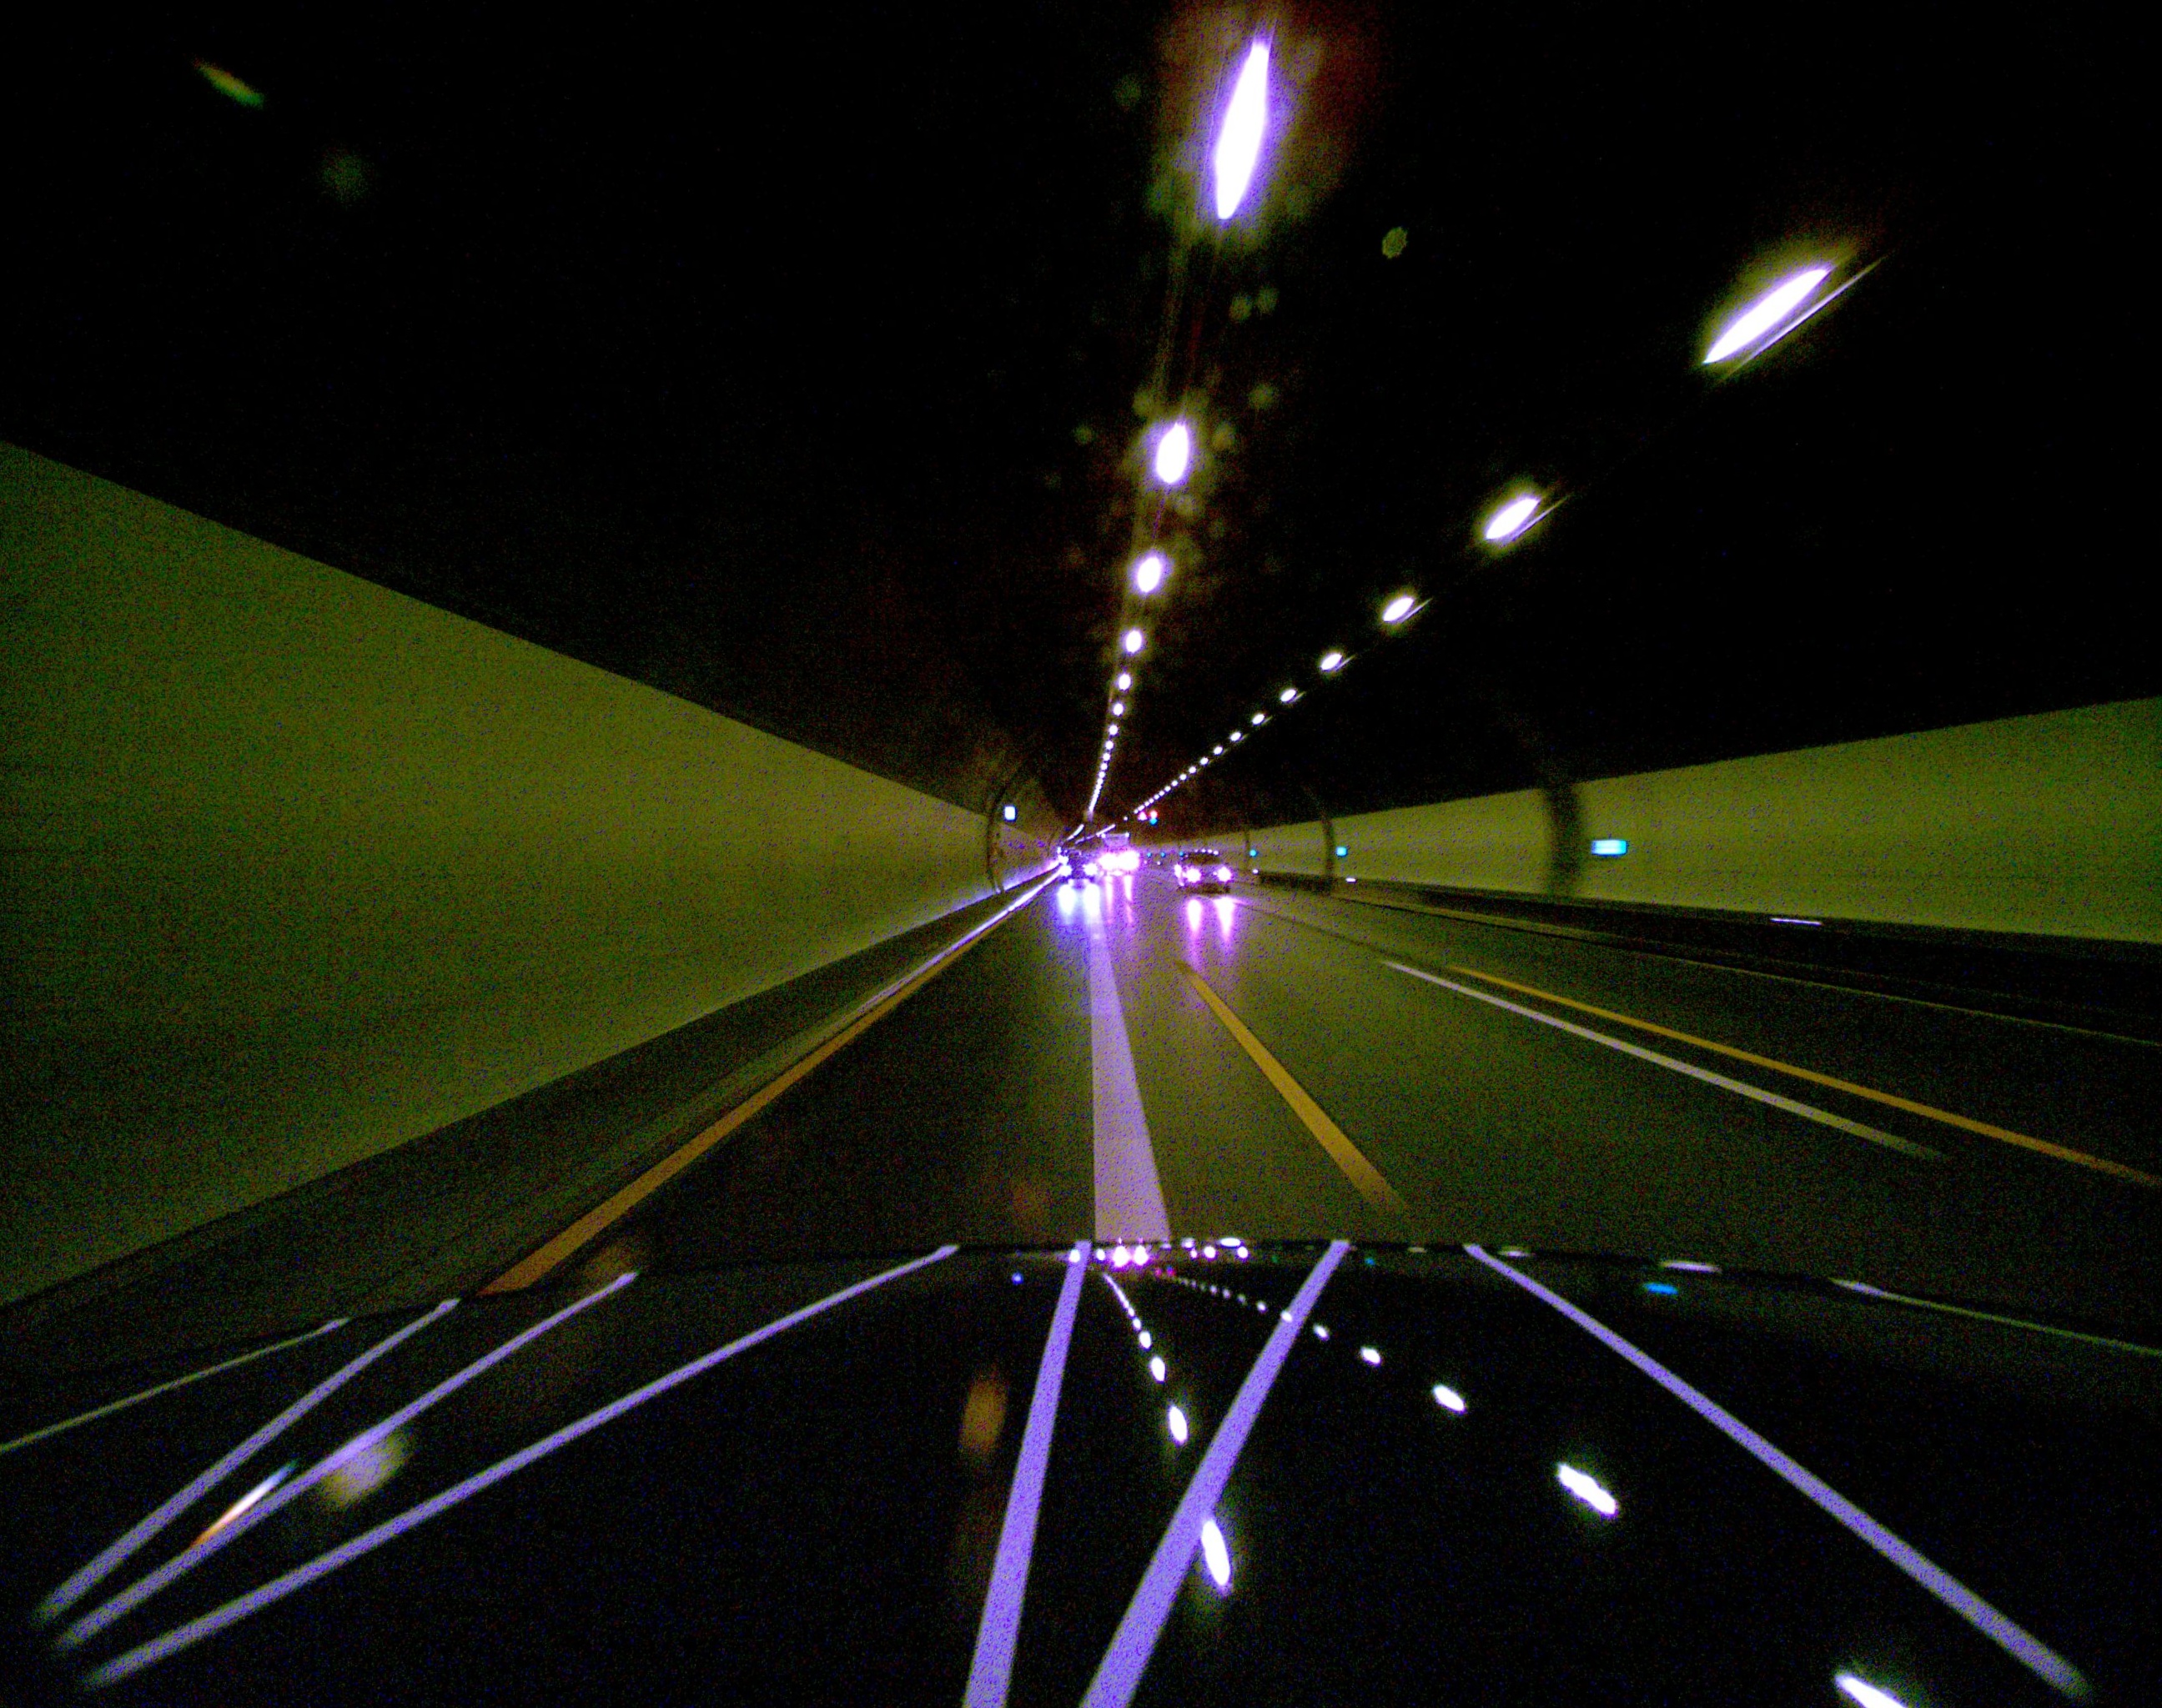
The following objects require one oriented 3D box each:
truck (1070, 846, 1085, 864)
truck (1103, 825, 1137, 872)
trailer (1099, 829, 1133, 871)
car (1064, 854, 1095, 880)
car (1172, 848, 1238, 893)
[{"bbox_3d":[-0.588,0.199,125.682,2.151,2.609,9.907,-2,-1,-1],"label":"truck"},{"bbox_3d":[2.983,-0.432,59.508,2.374,3.328,4.719,-4,1,2],"label":"truck"},{"bbox_3d":[2.922,-0.322,66.120,2.374,3.328,12.077,0,0,0],"label":"trailer"},{"bbox_3d":[-0.042,0.740,45.595,1.728,1.474,4.000,-2,0,1],"label":"car"},{"bbox_3d":[4.712,0.571,29.413,1.766,1.563,4.096,-2,1,-1],"label":"car"}]
